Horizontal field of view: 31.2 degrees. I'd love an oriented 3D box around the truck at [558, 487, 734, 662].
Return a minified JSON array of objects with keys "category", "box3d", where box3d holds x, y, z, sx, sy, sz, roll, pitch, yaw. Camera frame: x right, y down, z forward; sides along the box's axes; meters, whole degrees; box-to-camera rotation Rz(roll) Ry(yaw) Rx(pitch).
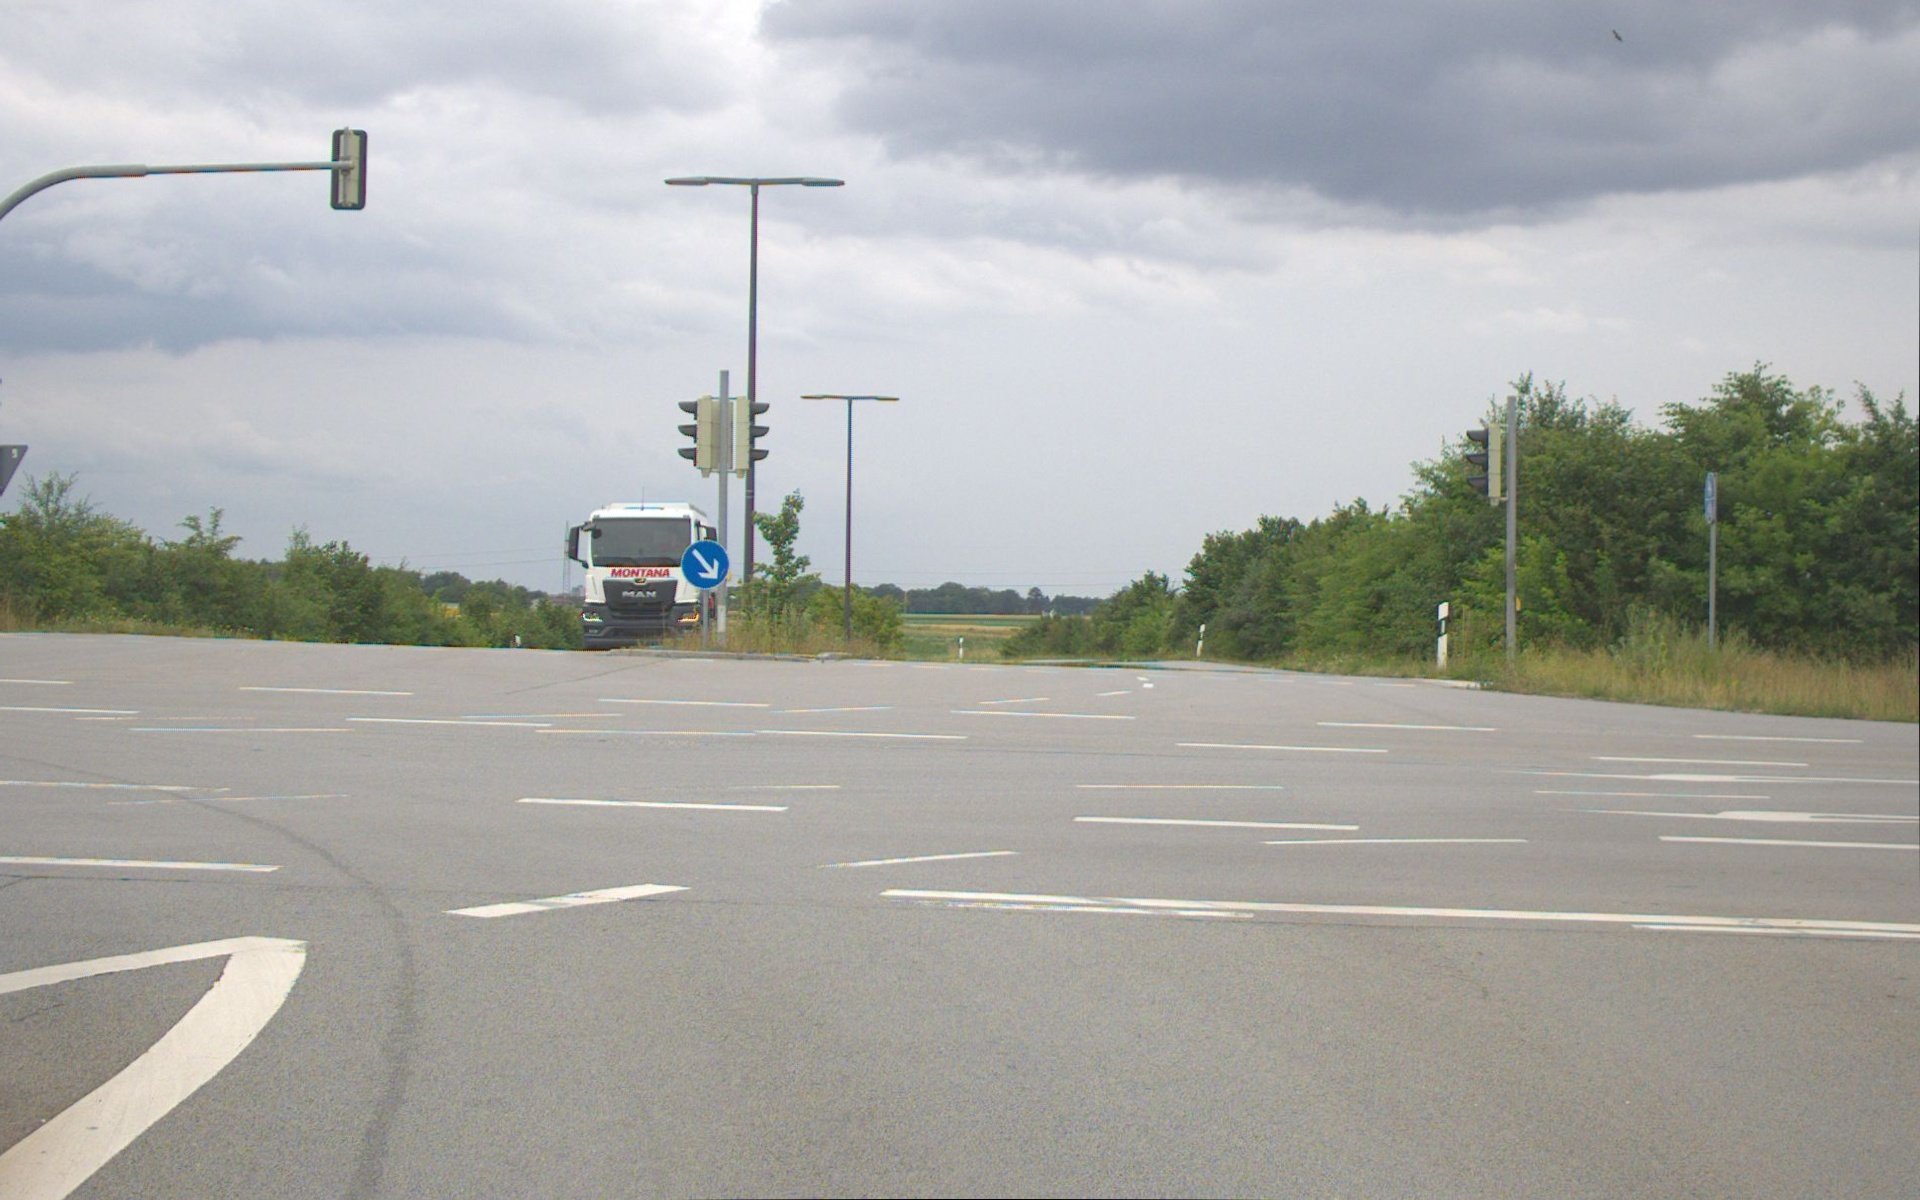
[{"category":"truck","box3d":[-6.449,-0.460,71.865,2.869,3.396,8.650,1,-1,0]}]
